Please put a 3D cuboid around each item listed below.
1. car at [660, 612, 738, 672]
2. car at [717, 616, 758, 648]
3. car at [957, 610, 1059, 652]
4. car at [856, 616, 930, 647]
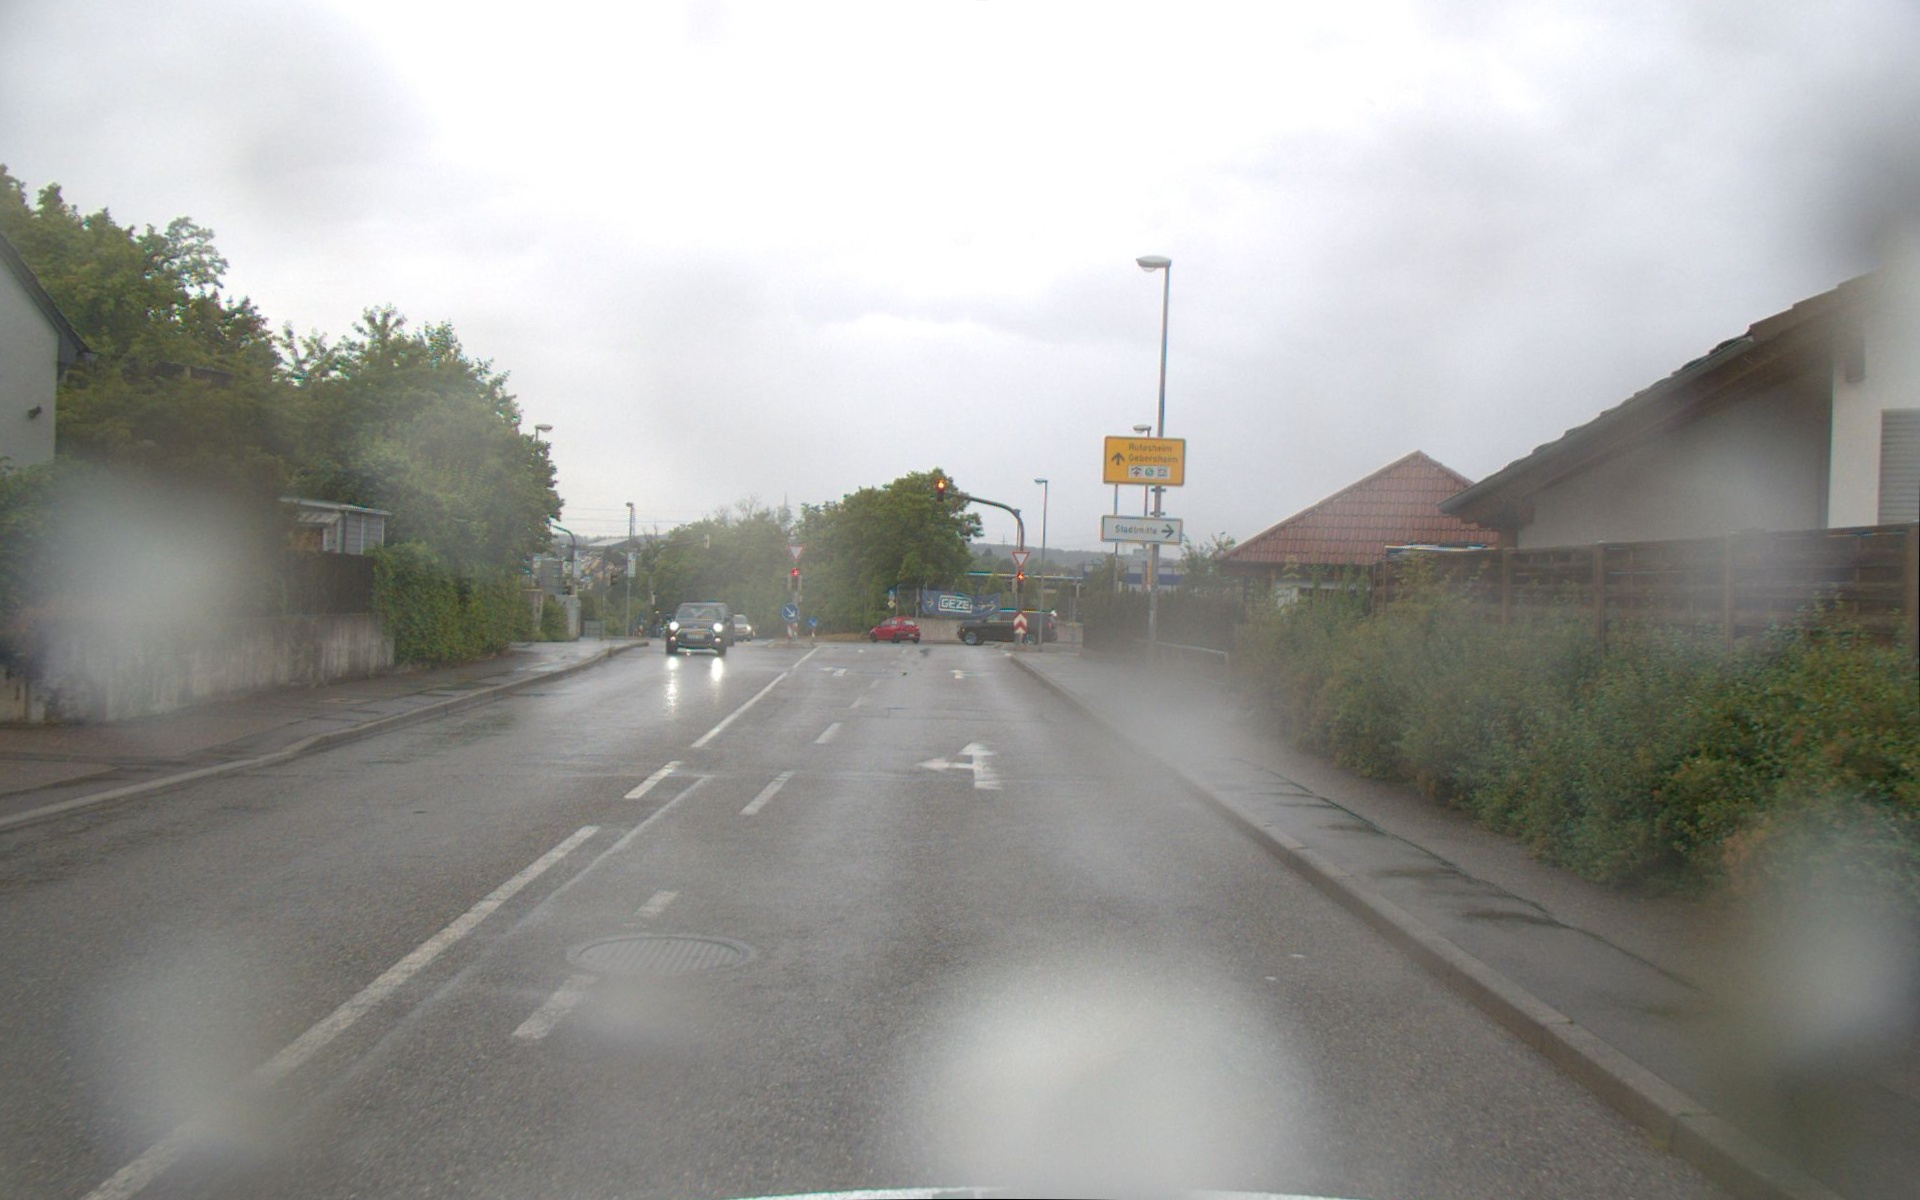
[{"bbox_3d":[-7.587,1.199,48.324,1.769,1.550,3.998,2,0,-3],"label":"car"},{"bbox_3d":[-14.738,2.094,109.483,1.963,2.049,3.978,-1,0,-19],"label":"car"},{"bbox_3d":[2.674,1.714,91.403,5.350,2.049,2.002,-2,0,8],"label":"car"},{"bbox_3d":[-4.102,1.913,100.542,2.280,1.720,4.696,-2,0,-36],"label":"car"}]
